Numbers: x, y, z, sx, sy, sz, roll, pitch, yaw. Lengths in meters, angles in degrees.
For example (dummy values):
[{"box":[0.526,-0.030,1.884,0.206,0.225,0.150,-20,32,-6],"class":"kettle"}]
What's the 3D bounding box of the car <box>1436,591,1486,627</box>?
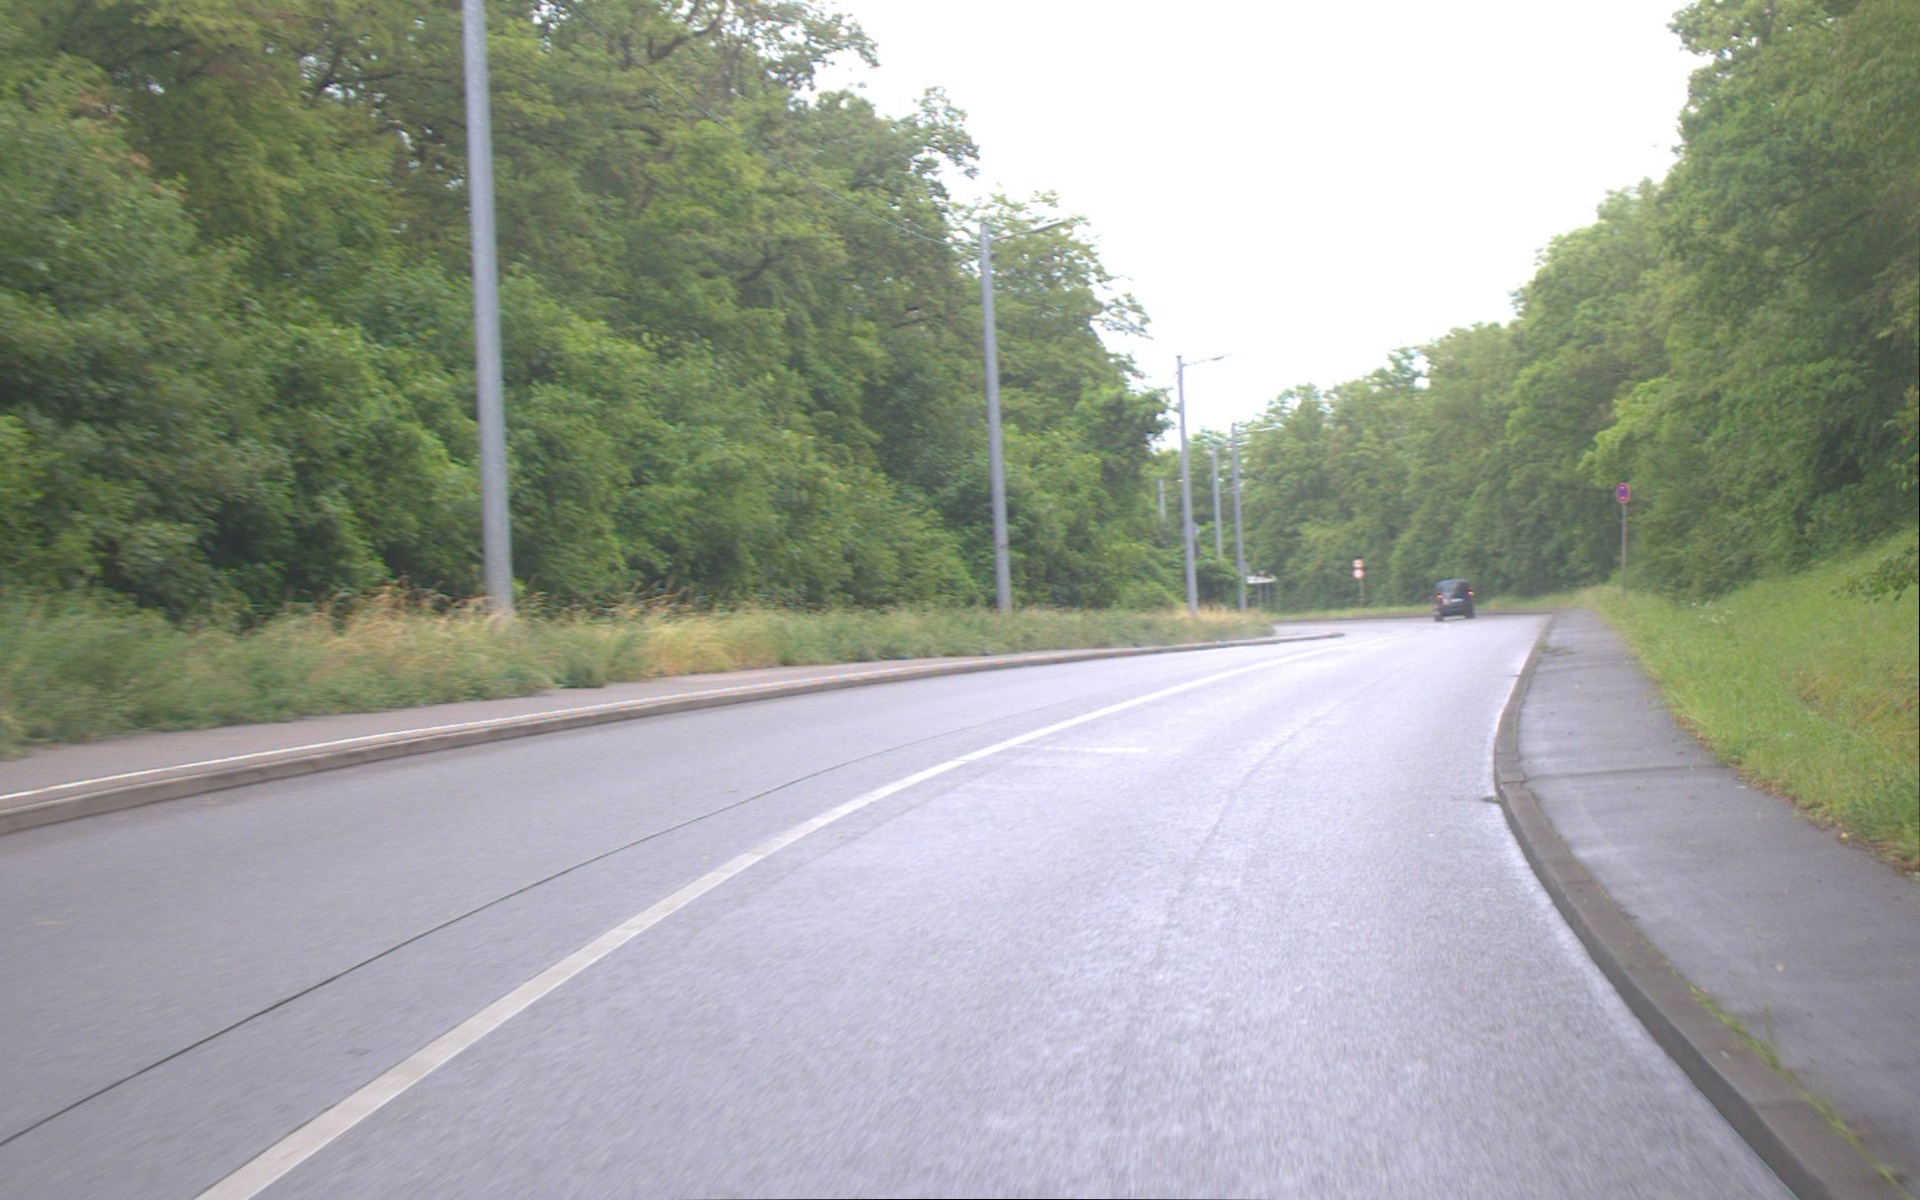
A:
[{"box":[23.150,0.409,158.999,1.868,1.590,3.999,1,-1,3],"class":"car"}]
